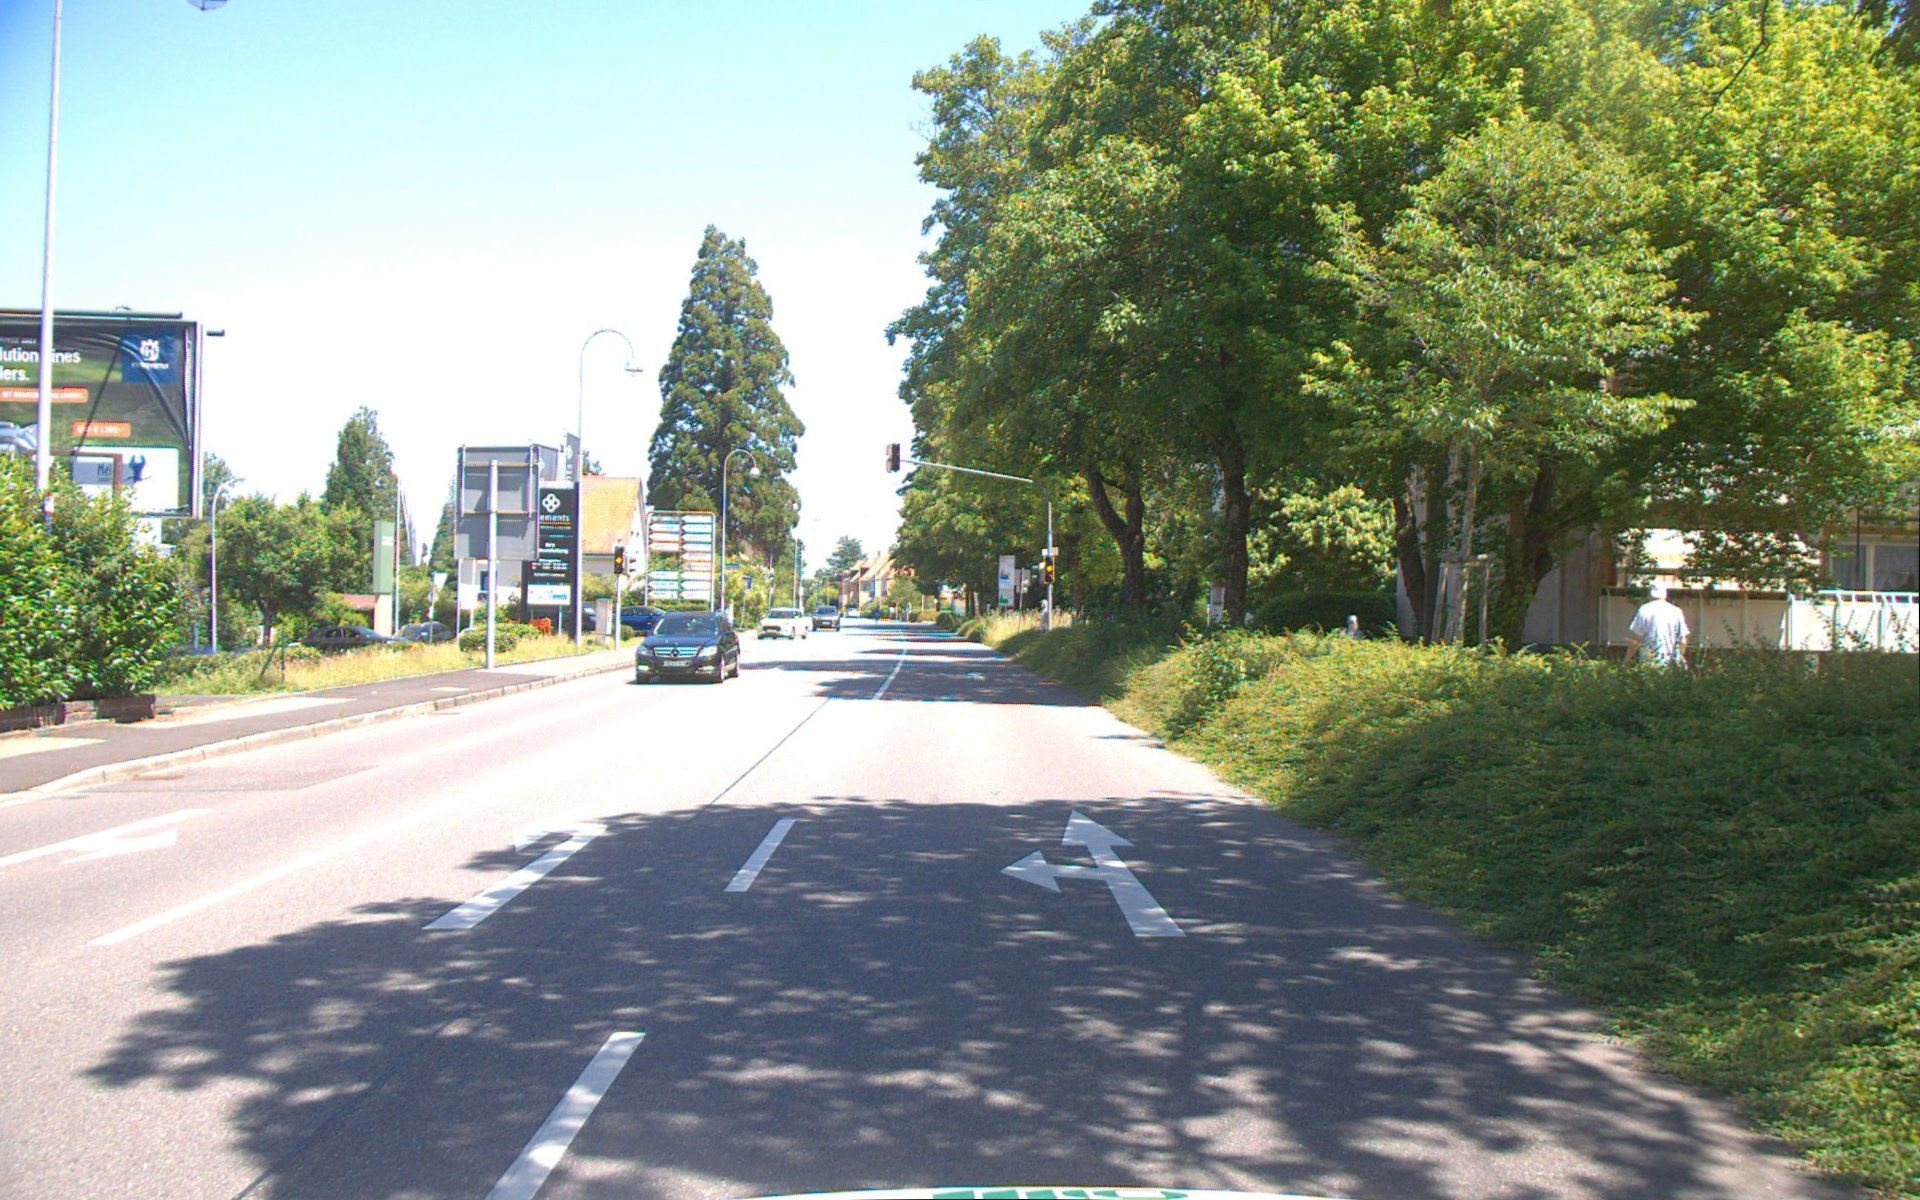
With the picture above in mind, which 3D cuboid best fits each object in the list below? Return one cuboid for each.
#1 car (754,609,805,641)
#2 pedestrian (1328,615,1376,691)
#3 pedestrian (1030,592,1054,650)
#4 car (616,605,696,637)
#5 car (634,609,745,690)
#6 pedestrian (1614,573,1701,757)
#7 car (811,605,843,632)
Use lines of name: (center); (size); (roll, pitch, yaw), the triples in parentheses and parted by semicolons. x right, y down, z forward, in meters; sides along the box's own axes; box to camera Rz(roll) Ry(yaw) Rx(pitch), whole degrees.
car: (-8.698, 1.211, 80.066); (1.952, 1.514, 4.309); (0, -1, 0)
pedestrian: (7.094, 0.953, 29.977); (0.648, 1.358, 0.889); (1, -1, 0)
pedestrian: (2.537, 0.646, 51.203); (0.602, 1.782, 0.561); (1, -1, -8)
car: (-14.448, 1.010, 78.618); (3.417, 1.452, 1.602); (1, 0, 6)
car: (-5.595, 0.988, 34.707); (1.675, 1.521, 4.277); (1, 0, -1)
pedestrian: (7.543, 0.689, 17.913); (0.689, 1.948, 0.660); (0, -1, 3)
car: (-8.817, 1.195, 109.903); (1.841, 1.748, 4.309); (1, 0, -1)
